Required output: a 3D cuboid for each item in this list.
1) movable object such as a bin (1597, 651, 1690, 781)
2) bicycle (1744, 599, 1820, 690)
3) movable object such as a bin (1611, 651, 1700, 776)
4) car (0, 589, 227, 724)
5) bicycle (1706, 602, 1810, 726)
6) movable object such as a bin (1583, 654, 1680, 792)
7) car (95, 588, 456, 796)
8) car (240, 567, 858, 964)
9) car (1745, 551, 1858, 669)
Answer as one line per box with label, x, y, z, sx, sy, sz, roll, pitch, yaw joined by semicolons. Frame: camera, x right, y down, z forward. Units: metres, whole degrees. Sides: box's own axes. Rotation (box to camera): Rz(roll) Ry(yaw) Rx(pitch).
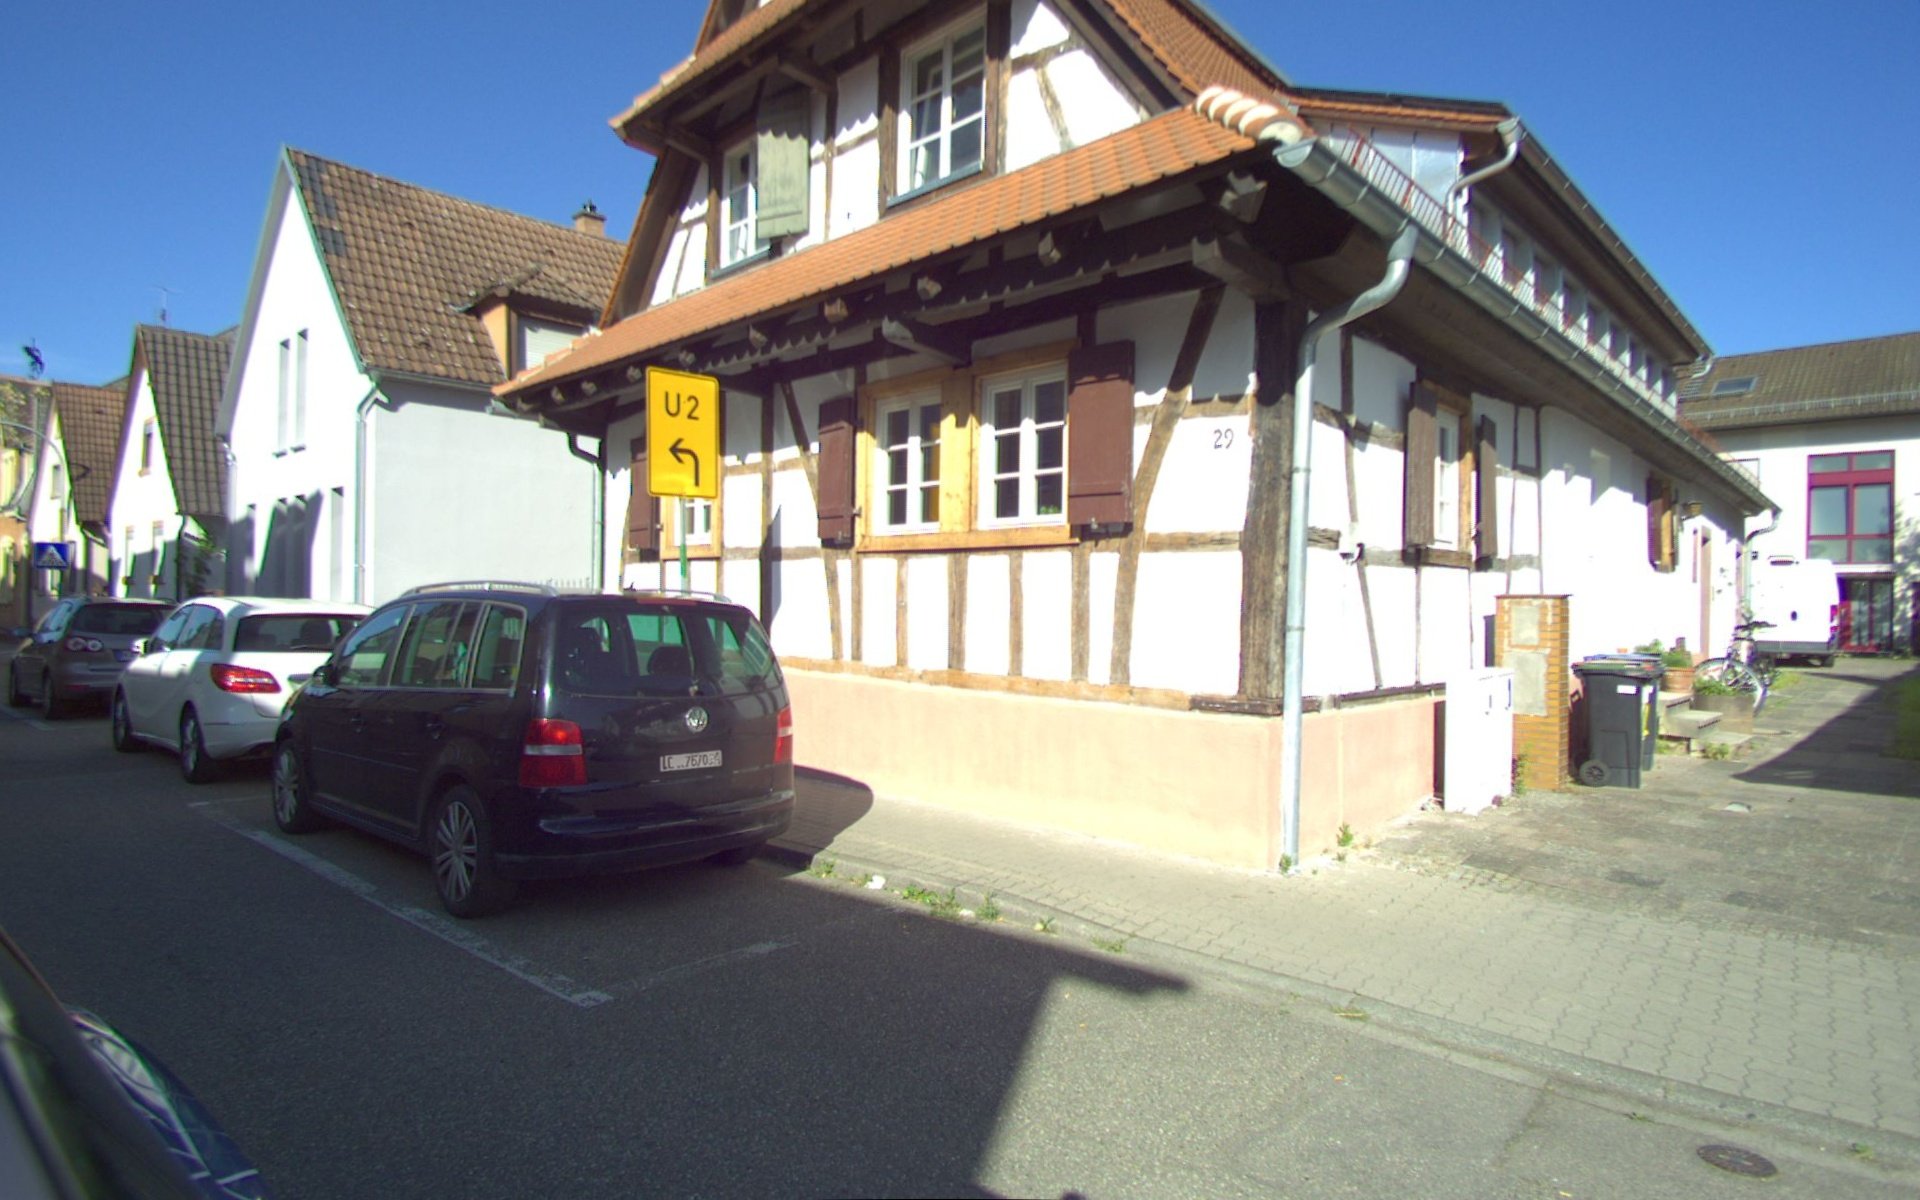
movable object such as a bin;5.418;0.897;8.026;0.524;0.950;0.465;1;0;45
bicycle;12.699;0.646;15.610;0.739;1.253;2.213;1;2;44
movable object such as a bin;5.752;0.918;8.376;0.524;0.950;0.465;1;0;45
car;-11.924;0.690;14.120;3.996;1.626;1.725;1;-1;39
bicycle;9.307;0.677;11.769;0.739;1.253;2.213;1;2;44
movable object such as a bin;5.086;0.908;7.663;0.524;0.950;0.465;1;0;45
car;-6.702;0.708;9.732;4.165;1.578;1.798;1;-1;40
car;-2.772;0.695;6.252;4.359;1.617;1.765;0;-2;42
car;19.961;0.162;24.151;1.799;2.550;3.951;1;2;36
